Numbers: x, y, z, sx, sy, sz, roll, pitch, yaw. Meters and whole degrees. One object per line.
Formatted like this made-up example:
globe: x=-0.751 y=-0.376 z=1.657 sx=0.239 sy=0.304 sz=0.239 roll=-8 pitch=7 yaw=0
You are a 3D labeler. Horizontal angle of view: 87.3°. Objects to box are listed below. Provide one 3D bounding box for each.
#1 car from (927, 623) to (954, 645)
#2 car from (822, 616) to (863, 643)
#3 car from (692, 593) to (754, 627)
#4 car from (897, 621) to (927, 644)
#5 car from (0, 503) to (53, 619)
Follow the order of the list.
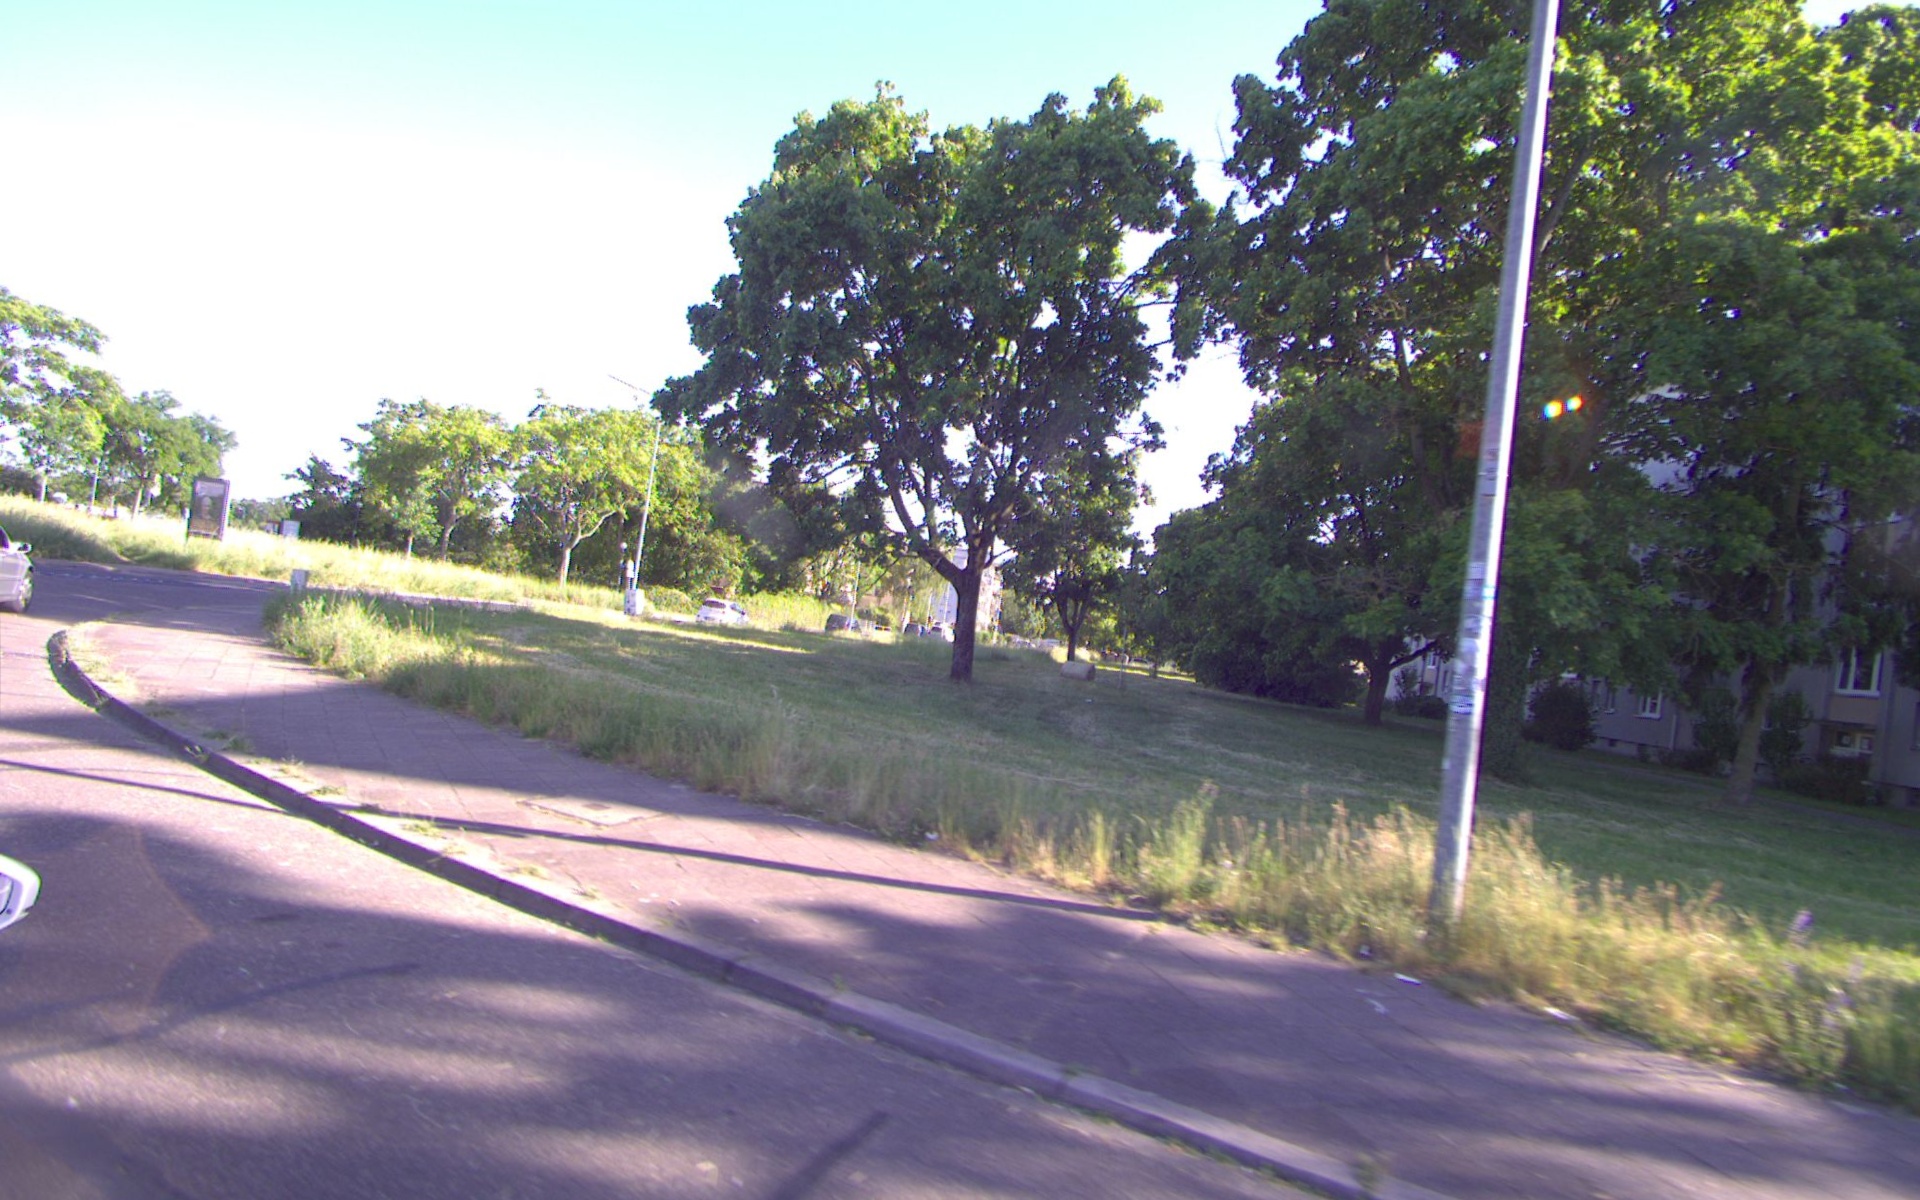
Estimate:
car: x=-1.973 y=3.511 z=102.950 sx=1.672 sy=1.873 sz=3.855 roll=10 pitch=-1 yaw=11
car: x=-8.267 y=2.091 z=71.096 sx=1.671 sy=1.629 sz=4.004 roll=6 pitch=-2 yaw=10
car: x=-12.009 y=0.529 z=51.263 sx=1.694 sy=1.498 sz=3.741 roll=6 pitch=0 yaw=8
car: x=-4.451 y=3.032 z=92.960 sx=1.672 sy=1.780 sz=3.855 roll=10 pitch=-1 yaw=11
car: x=-12.936 y=-0.606 z=12.319 sx=1.805 sy=1.479 sz=4.324 roll=10 pitch=-3 yaw=-32
